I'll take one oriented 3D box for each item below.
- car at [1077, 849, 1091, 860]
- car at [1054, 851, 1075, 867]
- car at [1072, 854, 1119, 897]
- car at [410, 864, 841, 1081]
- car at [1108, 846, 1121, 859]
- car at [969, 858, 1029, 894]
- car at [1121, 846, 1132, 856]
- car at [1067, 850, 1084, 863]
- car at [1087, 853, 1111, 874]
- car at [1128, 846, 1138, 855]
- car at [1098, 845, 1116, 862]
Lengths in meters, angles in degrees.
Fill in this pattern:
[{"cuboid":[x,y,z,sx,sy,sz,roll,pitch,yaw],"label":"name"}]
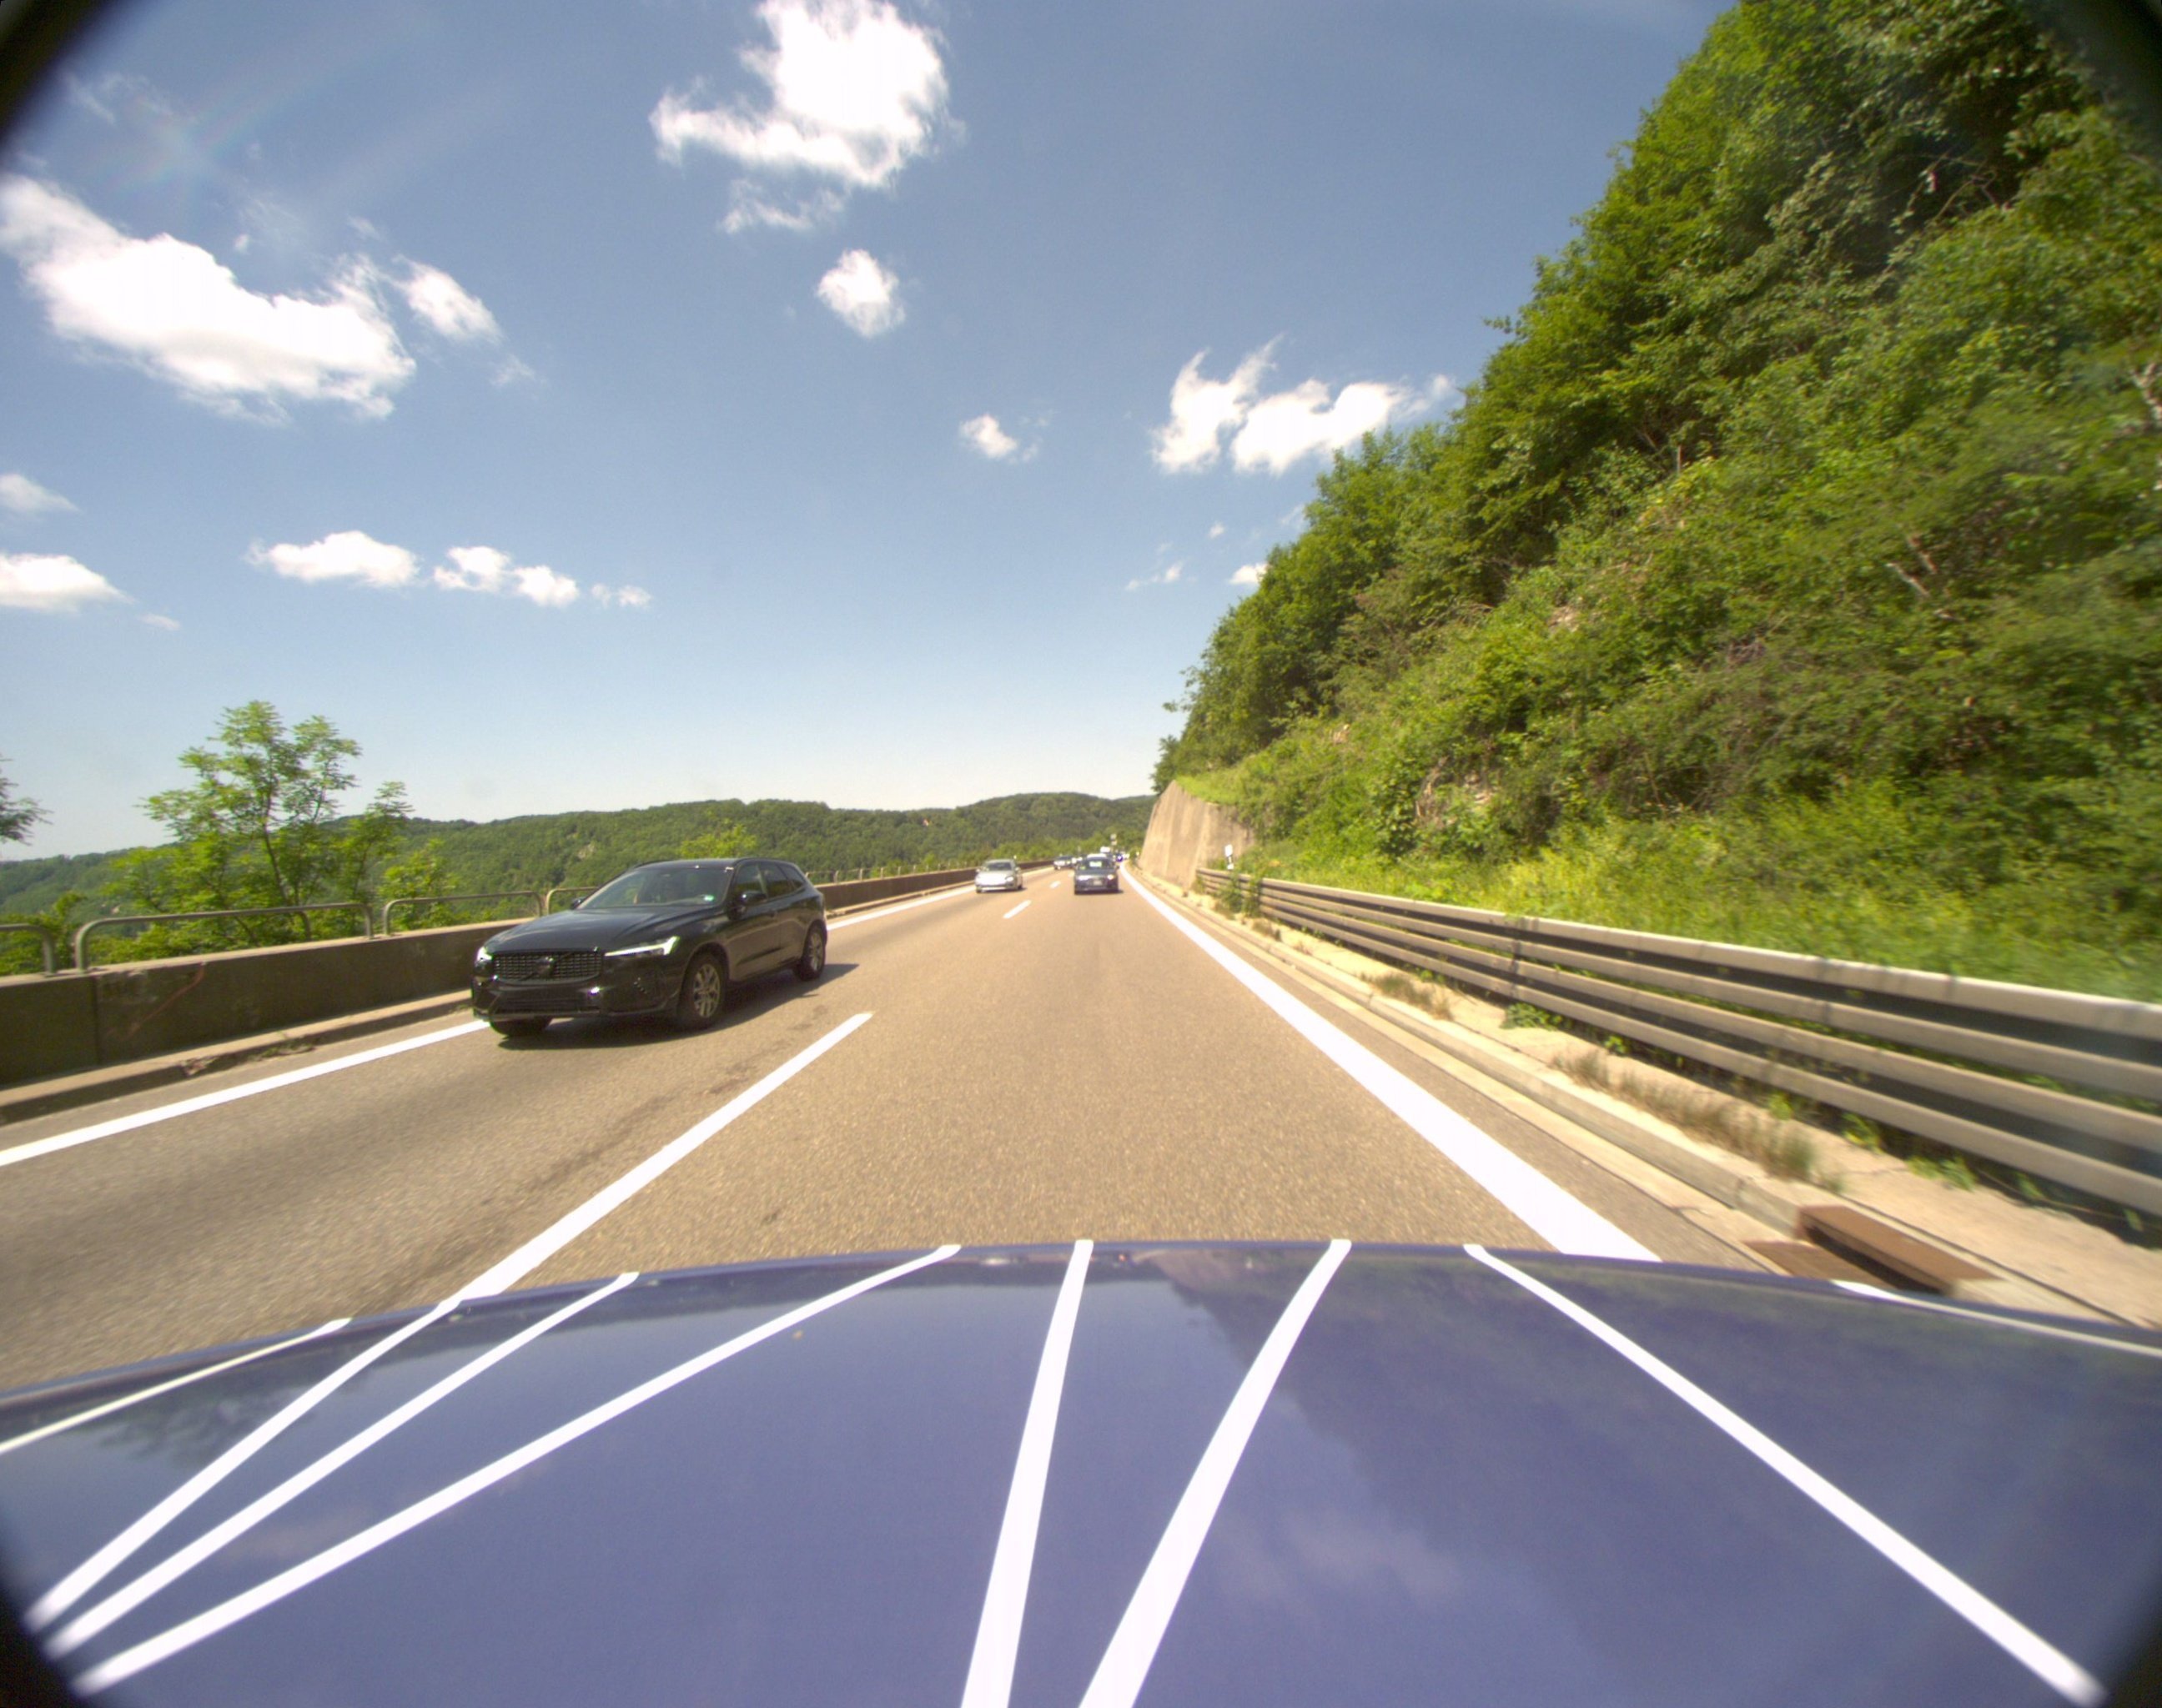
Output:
[{"cuboid":[0.531,0.017,117.310,1.775,1.565,4.001,-2,0,5],"label":"car"},{"cuboid":[-1.714,0.478,79.222,1.875,1.565,4.001,-2,0,3],"label":"car"},{"cuboid":[0.577,0.776,29.790,1.669,1.415,4.043,-2,1,1],"label":"car"},{"cuboid":[-4.408,0.986,8.446,1.839,1.624,4.662,-2,0,1],"label":"car"},{"cuboid":[5.425,-0.314,124.086,1.998,2.002,4.000,-2,0,3],"label":"car"},{"cuboid":[-3.648,0.951,34.653,1.972,1.370,4.294,-2,1,4],"label":"car"},{"cuboid":[9.499,-0.681,158.354,1.997,2.002,4.002,-2,0,9],"label":"car"},{"cuboid":[-0.726,0.330,100.003,1.775,1.565,4.001,-2,0,5],"label":"car"},{"cuboid":[1.375,0.688,55.750,1.703,1.432,4.044,0,1,2],"label":"car"},{"cuboid":[12.162,-0.770,176.934,1.997,2.002,4.002,-2,0,7],"label":"car"},{"cuboid":[3.177,-0.034,93.090,1.998,2.002,4.000,-2,0,1],"label":"car"}]
